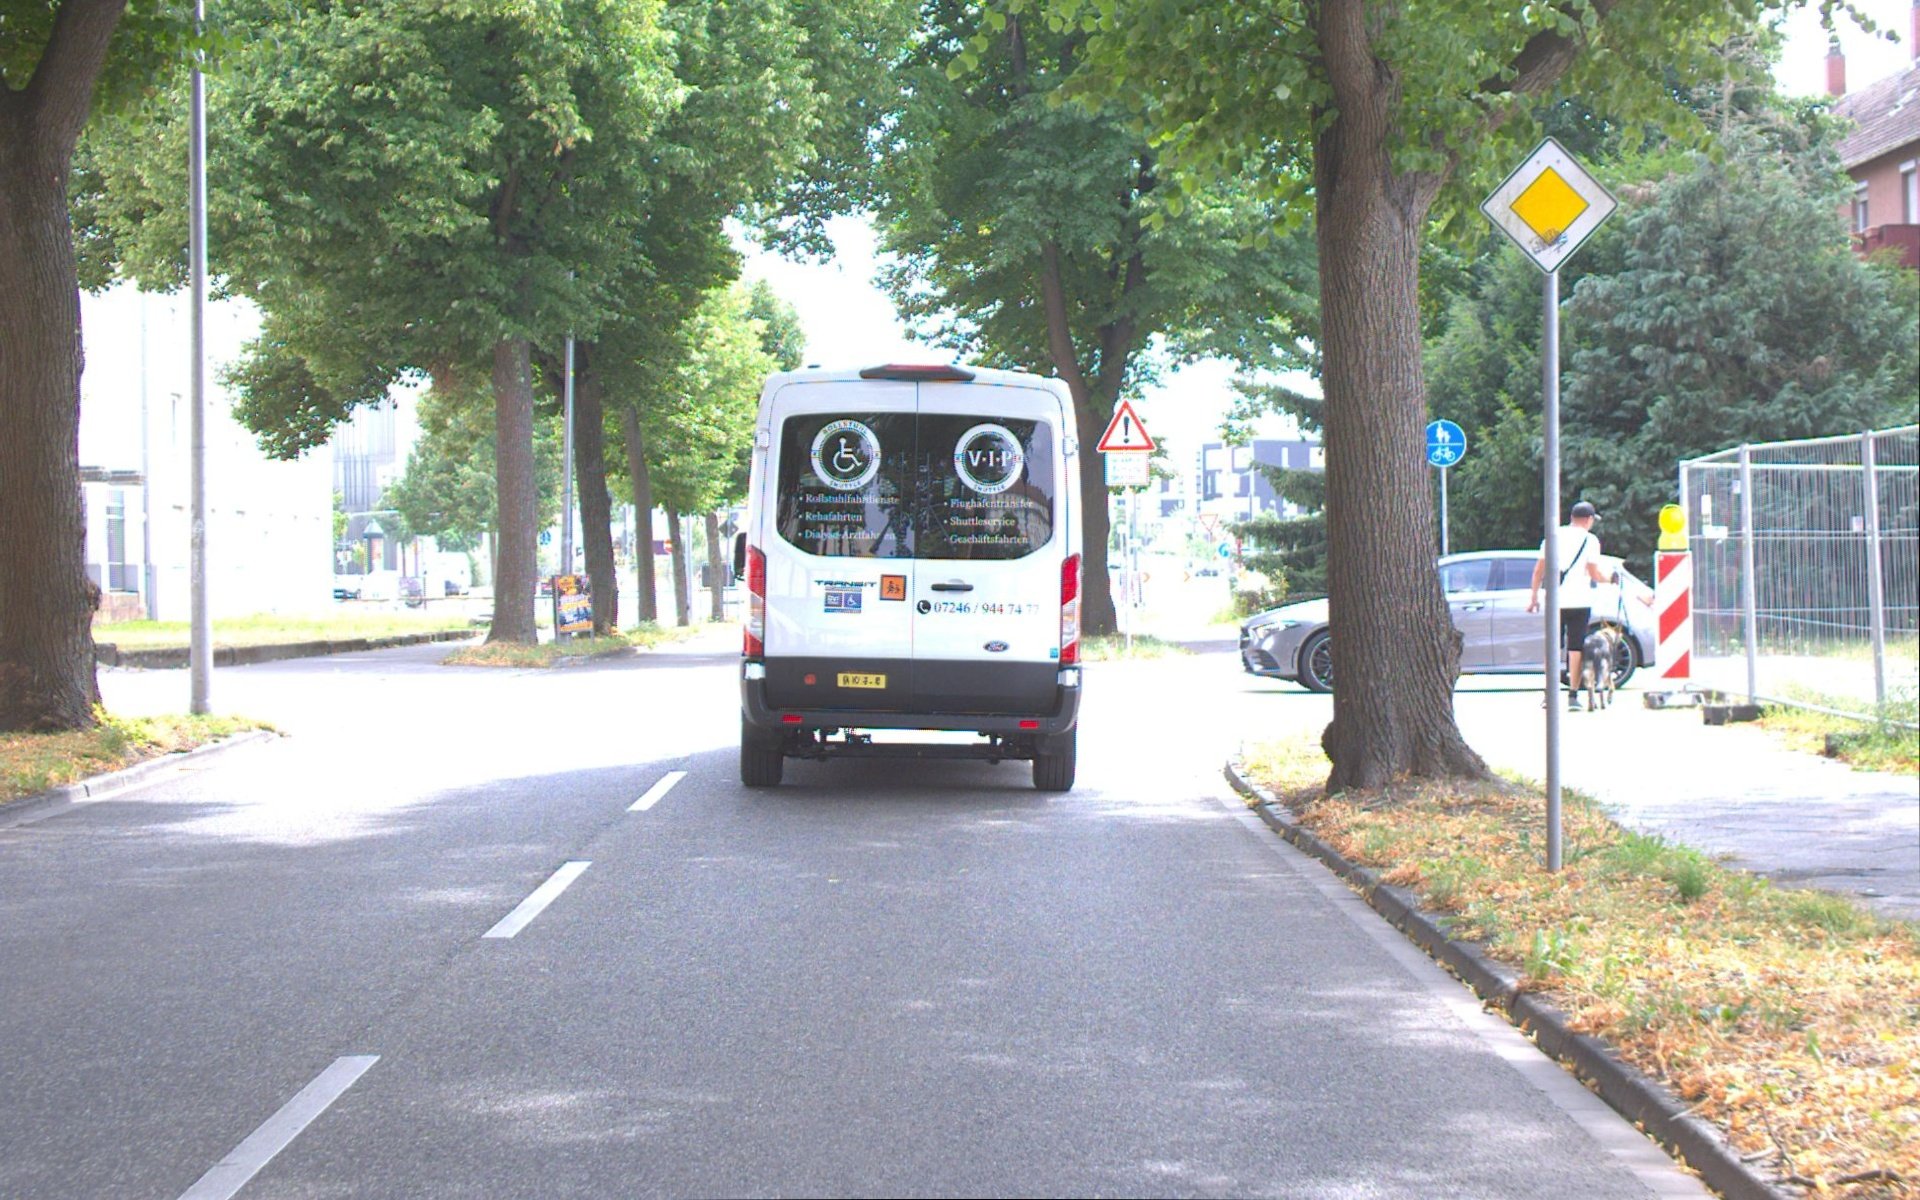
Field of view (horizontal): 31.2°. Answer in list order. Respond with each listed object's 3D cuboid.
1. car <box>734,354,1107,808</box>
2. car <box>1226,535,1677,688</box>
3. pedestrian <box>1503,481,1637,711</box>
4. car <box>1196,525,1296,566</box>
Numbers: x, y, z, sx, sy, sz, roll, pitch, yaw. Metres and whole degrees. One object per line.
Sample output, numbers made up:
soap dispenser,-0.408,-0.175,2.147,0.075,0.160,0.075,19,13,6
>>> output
car,-0.346,-0.177,21.459,2.062,2.531,4.001,1,2,-4
car,5.019,0.138,35.601,4.371,1.438,2.011,-1,-1,1
pedestrian,4.964,-0.037,27.953,0.883,1.808,0.888,-2,0,19
car,13.986,-2.676,168.092,4.397,1.810,2.013,-3,1,-29
